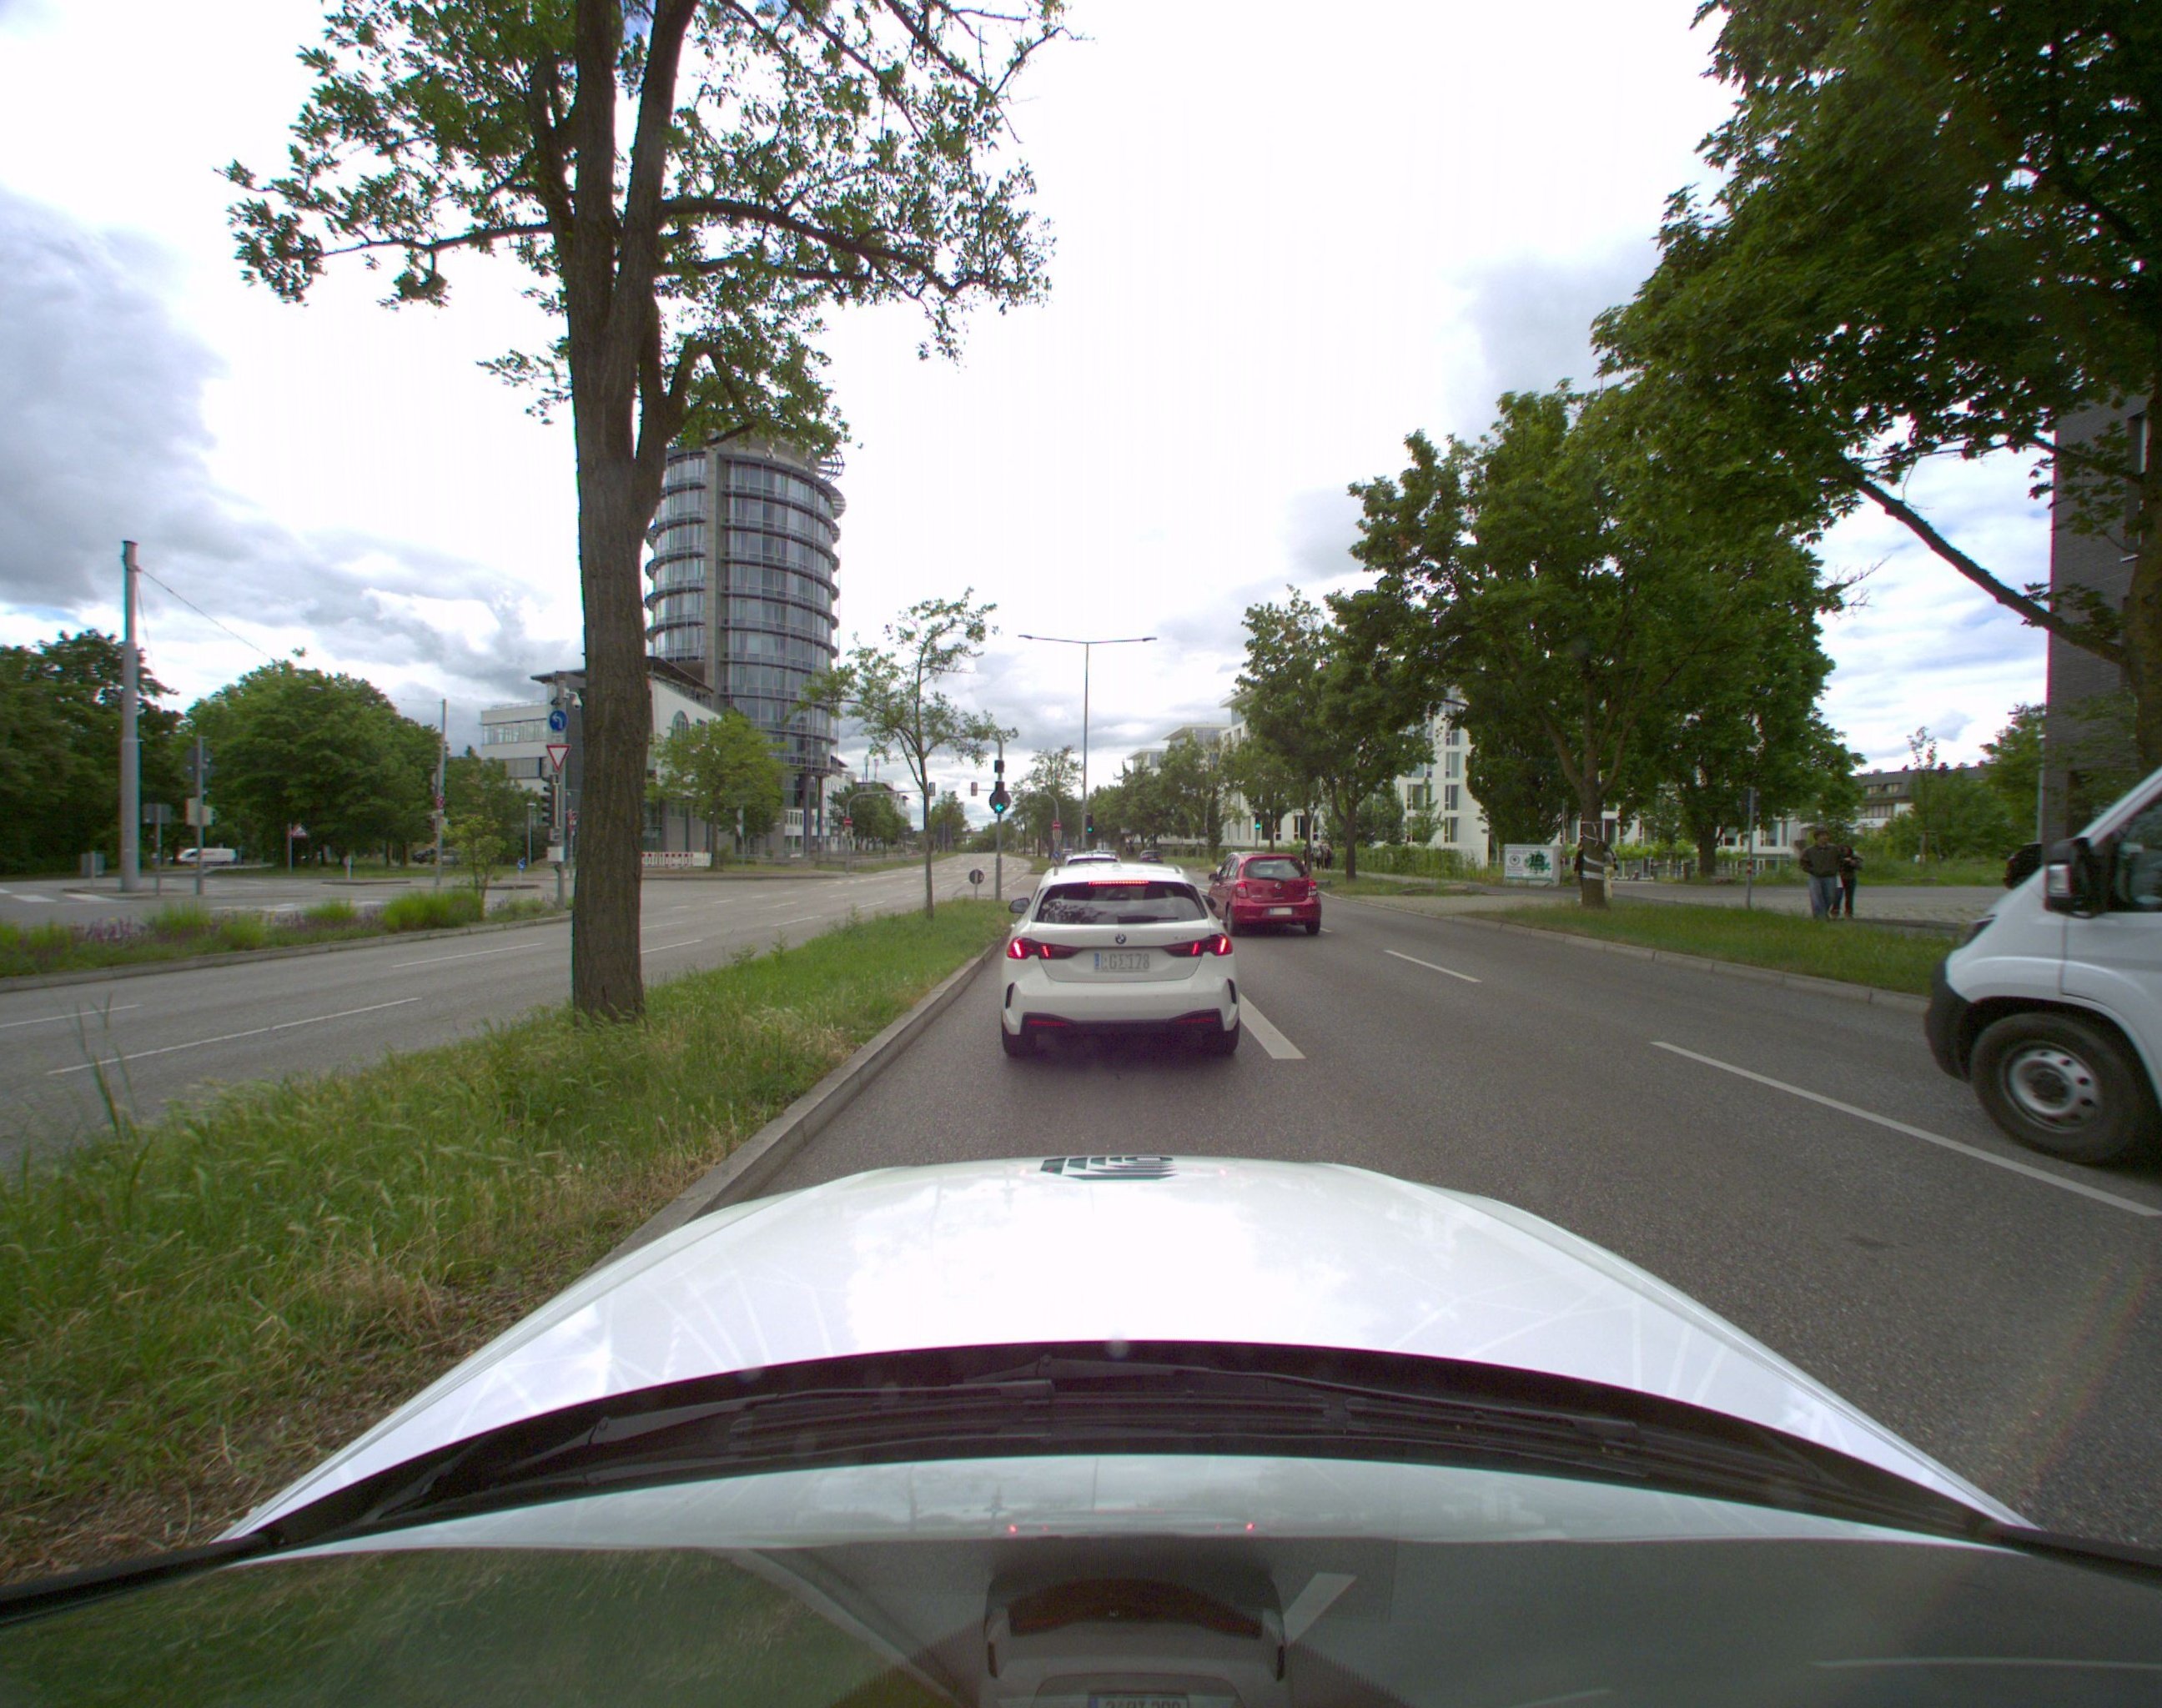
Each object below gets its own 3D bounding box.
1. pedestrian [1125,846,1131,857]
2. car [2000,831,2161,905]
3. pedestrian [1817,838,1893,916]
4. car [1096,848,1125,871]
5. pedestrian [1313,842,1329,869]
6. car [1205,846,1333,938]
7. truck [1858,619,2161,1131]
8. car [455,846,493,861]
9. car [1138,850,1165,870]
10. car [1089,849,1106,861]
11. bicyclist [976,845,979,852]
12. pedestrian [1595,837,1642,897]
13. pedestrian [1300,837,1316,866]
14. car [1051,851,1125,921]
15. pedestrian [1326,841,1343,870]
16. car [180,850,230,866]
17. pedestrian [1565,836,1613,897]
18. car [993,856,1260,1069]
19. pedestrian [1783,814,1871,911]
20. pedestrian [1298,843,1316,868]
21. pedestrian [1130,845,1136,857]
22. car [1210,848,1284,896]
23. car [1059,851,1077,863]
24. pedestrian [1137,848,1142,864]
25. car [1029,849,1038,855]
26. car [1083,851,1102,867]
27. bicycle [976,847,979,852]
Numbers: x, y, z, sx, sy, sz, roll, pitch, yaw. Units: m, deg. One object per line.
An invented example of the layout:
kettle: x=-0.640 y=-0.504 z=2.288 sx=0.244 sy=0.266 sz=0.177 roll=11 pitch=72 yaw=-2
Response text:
pedestrian: x=8.173 y=-0.431 z=141.082 sx=0.763 sy=2.014 sz=0.751 roll=0 pitch=-1 yaw=-13
car: x=24.932 y=0.300 z=19.293 sx=1.749 sy=1.646 sz=4.151 roll=0 pitch=0 yaw=2
pedestrian: x=15.847 y=0.458 z=16.704 sx=0.825 sy=1.557 sz=0.880 roll=0 pitch=0 yaw=18
car: x=2.209 y=0.397 z=61.244 sx=1.850 sy=1.596 sz=4.310 roll=-1 pitch=0 yaw=-2
pedestrian: x=14.414 y=0.086 z=48.849 sx=0.697 sy=1.595 sz=0.883 roll=0 pitch=-1 yaw=1
car: x=3.577 y=0.665 z=16.143 sx=1.710 sy=1.558 sz=3.859 roll=-1 pitch=0 yaw=1
truck: x=5.670 y=0.092 z=1.984 sx=2.202 sy=2.203 sz=5.848 roll=0 pitch=0 yaw=3
car: x=-37.289 y=-0.026 z=50.016 sx=0.766 sy=0.876 sz=1.730 roll=0 pitch=0 yaw=39
car: x=5.452 y=0.470 z=63.470 sx=1.652 sy=1.512 sz=3.998 roll=0 pitch=-1 yaw=-1
car: x=1.976 y=0.130 z=100.531 sx=1.651 sy=1.425 sz=3.527 roll=-1 pitch=0 yaw=-6
bicyclist: x=-25.796 y=-1.409 z=203.168 sx=0.810 sy=1.653 sz=1.185 roll=0 pitch=-1 yaw=-9
pedestrian: x=15.010 y=0.353 z=22.766 sx=0.774 sy=1.660 sz=0.954 roll=0 pitch=0 yaw=7
pedestrian: x=12.745 y=-0.132 z=45.763 sx=0.739 sy=1.574 sz=0.674 roll=0 pitch=-1 yaw=1
car: x=0.092 y=0.719 z=20.465 sx=1.547 sy=1.569 sz=3.994 roll=0 pitch=0 yaw=-4
pedestrian: x=15.194 y=0.080 z=48.781 sx=0.764 sy=1.685 sz=0.883 roll=0 pitch=-1 yaw=1
car: x=-128.874 y=0.611 z=119.906 sx=1.978 sy=2.339 sz=4.570 roll=-1 pitch=-1 yaw=16
pedestrian: x=14.261 y=0.345 z=22.882 sx=0.791 sy=1.660 sz=1.061 roll=0 pitch=0 yaw=7
car: x=0.377 y=0.740 z=7.544 sx=1.815 sy=1.438 sz=4.002 roll=0 pitch=0 yaw=2
pedestrian: x=14.819 y=0.159 z=16.219 sx=0.952 sy=1.868 sz=0.983 roll=0 pitch=0 yaw=16
pedestrian: x=13.507 y=0.092 z=48.720 sx=0.786 sy=1.448 sz=1.112 roll=0 pitch=-1 yaw=1
pedestrian: x=8.874 y=-0.503 z=139.041 sx=0.849 sy=2.013 sz=0.603 roll=0 pitch=0 yaw=-13
car: x=5.820 y=0.593 z=28.993 sx=1.711 sy=1.555 sz=4.087 roll=-1 pitch=0 yaw=-1
car: x=-1.681 y=0.374 z=103.813 sx=1.889 sy=1.596 sz=4.304 roll=0 pitch=0 yaw=-6
pedestrian: x=9.415 y=0.327 z=130.906 sx=0.828 sy=2.627 sz=0.646 roll=0 pitch=0 yaw=1
car: x=-12.811 y=-0.585 z=219.118 sx=1.991 sy=1.670 sz=3.991 roll=-2 pitch=0 yaw=-6
car: x=1.022 y=0.477 z=75.978 sx=1.601 sy=1.468 sz=3.672 roll=0 pitch=0 yaw=-2
bicycle: x=-25.788 y=-1.048 z=203.073 sx=0.810 sy=1.104 sz=2.549 roll=0 pitch=-1 yaw=-9
